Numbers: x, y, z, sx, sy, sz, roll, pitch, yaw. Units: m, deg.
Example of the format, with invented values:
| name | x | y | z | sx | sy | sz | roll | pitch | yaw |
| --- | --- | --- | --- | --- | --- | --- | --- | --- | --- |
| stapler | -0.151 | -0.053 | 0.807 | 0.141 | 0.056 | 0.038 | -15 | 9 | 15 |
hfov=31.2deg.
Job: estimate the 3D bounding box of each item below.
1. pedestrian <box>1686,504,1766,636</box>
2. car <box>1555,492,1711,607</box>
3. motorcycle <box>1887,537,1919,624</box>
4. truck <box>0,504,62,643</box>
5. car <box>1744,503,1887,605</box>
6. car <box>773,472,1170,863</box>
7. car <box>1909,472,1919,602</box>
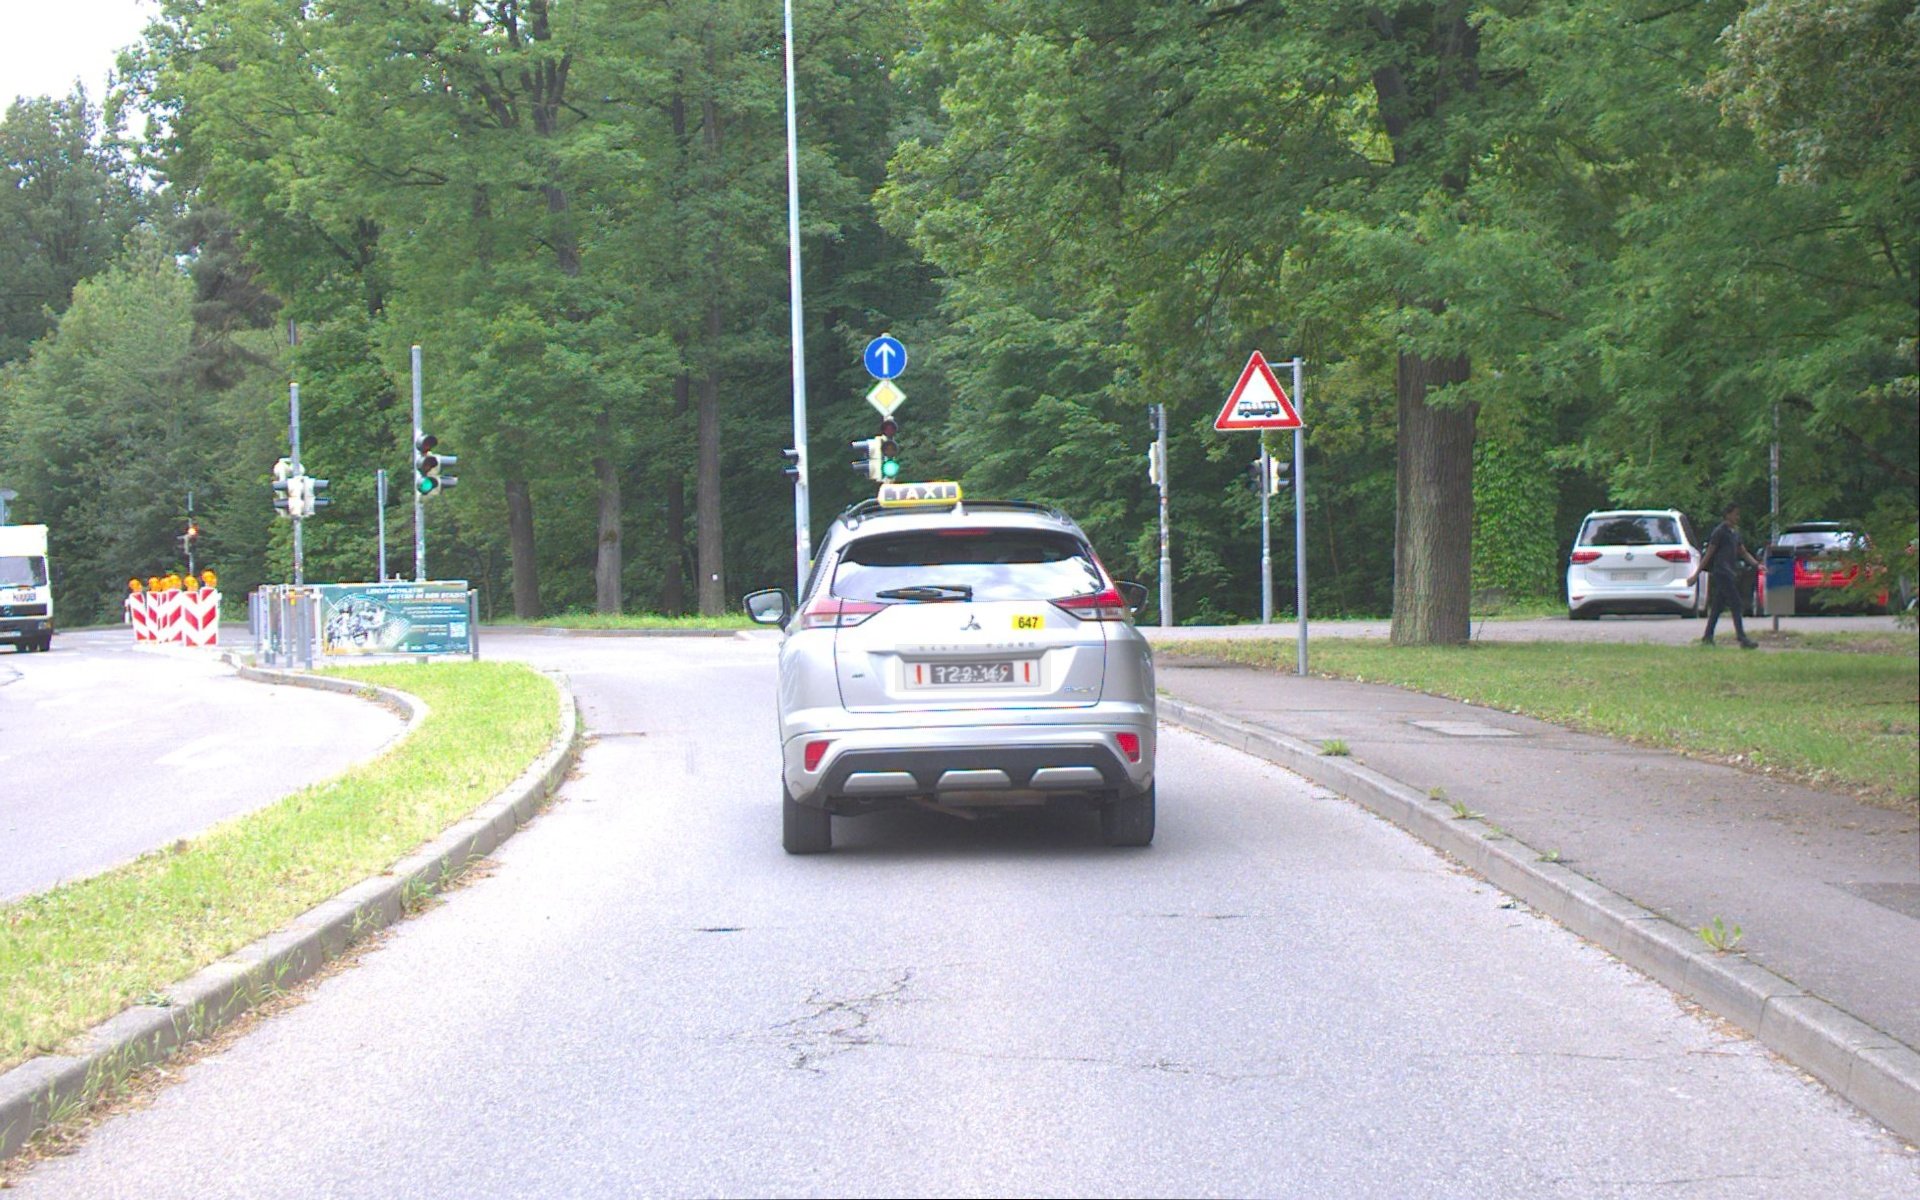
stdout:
| name | x | y | z | sx | sy | sz | roll | pitch | yaw |
| --- | --- | --- | --- | --- | --- | --- | --- | --- | --- |
| pedestrian | 8.887 | -0.355 | 39.849 | 0.841 | 1.501 | 0.790 | -1 | 1 | 15 |
| car | 9.587 | -0.744 | 48.770 | 1.835 | 1.531 | 3.997 | -1 | 1 | 16 |
| motorcycle | 12.503 | -0.259 | 42.743 | 1.828 | 1.053 | 0.615 | -1 | 1 | 10 |
| truck | -24.267 | -0.631 | 86.301 | 2.483 | 3.275 | 8.521 | -3 | 1 | -19 |
| car | 12.088 | -0.675 | 48.434 | 1.835 | 1.321 | 3.997 | -1 | 1 | 16 |
| car | -0.040 | 0.301 | 17.434 | 1.773 | 1.742 | 3.781 | -1 | 0 | -3 |
| car | 14.340 | -0.931 | 48.423 | 1.835 | 1.756 | 3.997 | -1 | 1 | 16 |
